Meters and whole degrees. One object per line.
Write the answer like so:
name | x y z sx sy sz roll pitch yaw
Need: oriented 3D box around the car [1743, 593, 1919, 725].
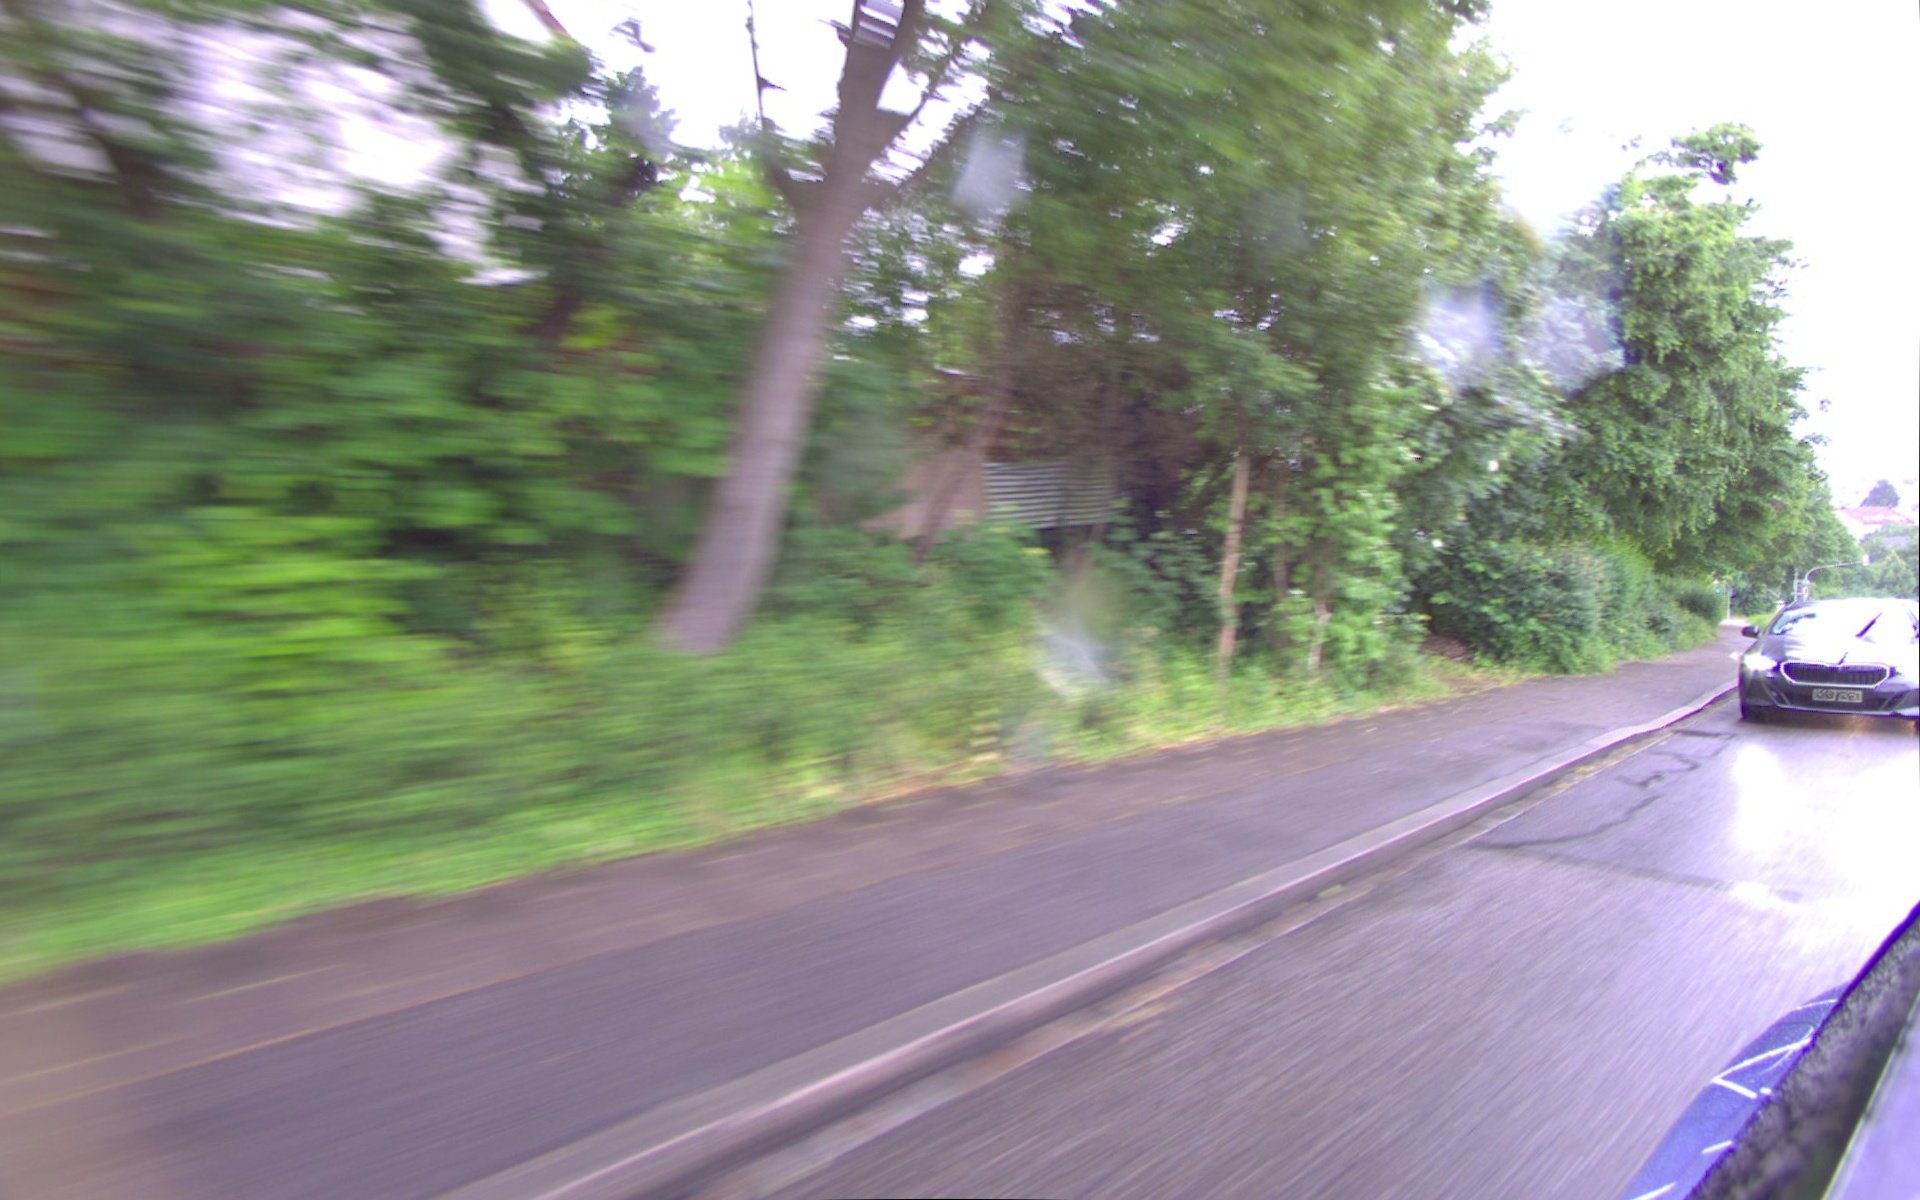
car | 11.587 0.631 12.909 4.210 1.396 1.843 -1 0 -43

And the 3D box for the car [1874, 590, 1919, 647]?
car | 27.389 0.503 29.104 1.547 1.532 4.216 4 3 43

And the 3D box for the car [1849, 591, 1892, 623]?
car | 51.675 0.385 57.396 1.699 1.701 4.216 3 2 43
